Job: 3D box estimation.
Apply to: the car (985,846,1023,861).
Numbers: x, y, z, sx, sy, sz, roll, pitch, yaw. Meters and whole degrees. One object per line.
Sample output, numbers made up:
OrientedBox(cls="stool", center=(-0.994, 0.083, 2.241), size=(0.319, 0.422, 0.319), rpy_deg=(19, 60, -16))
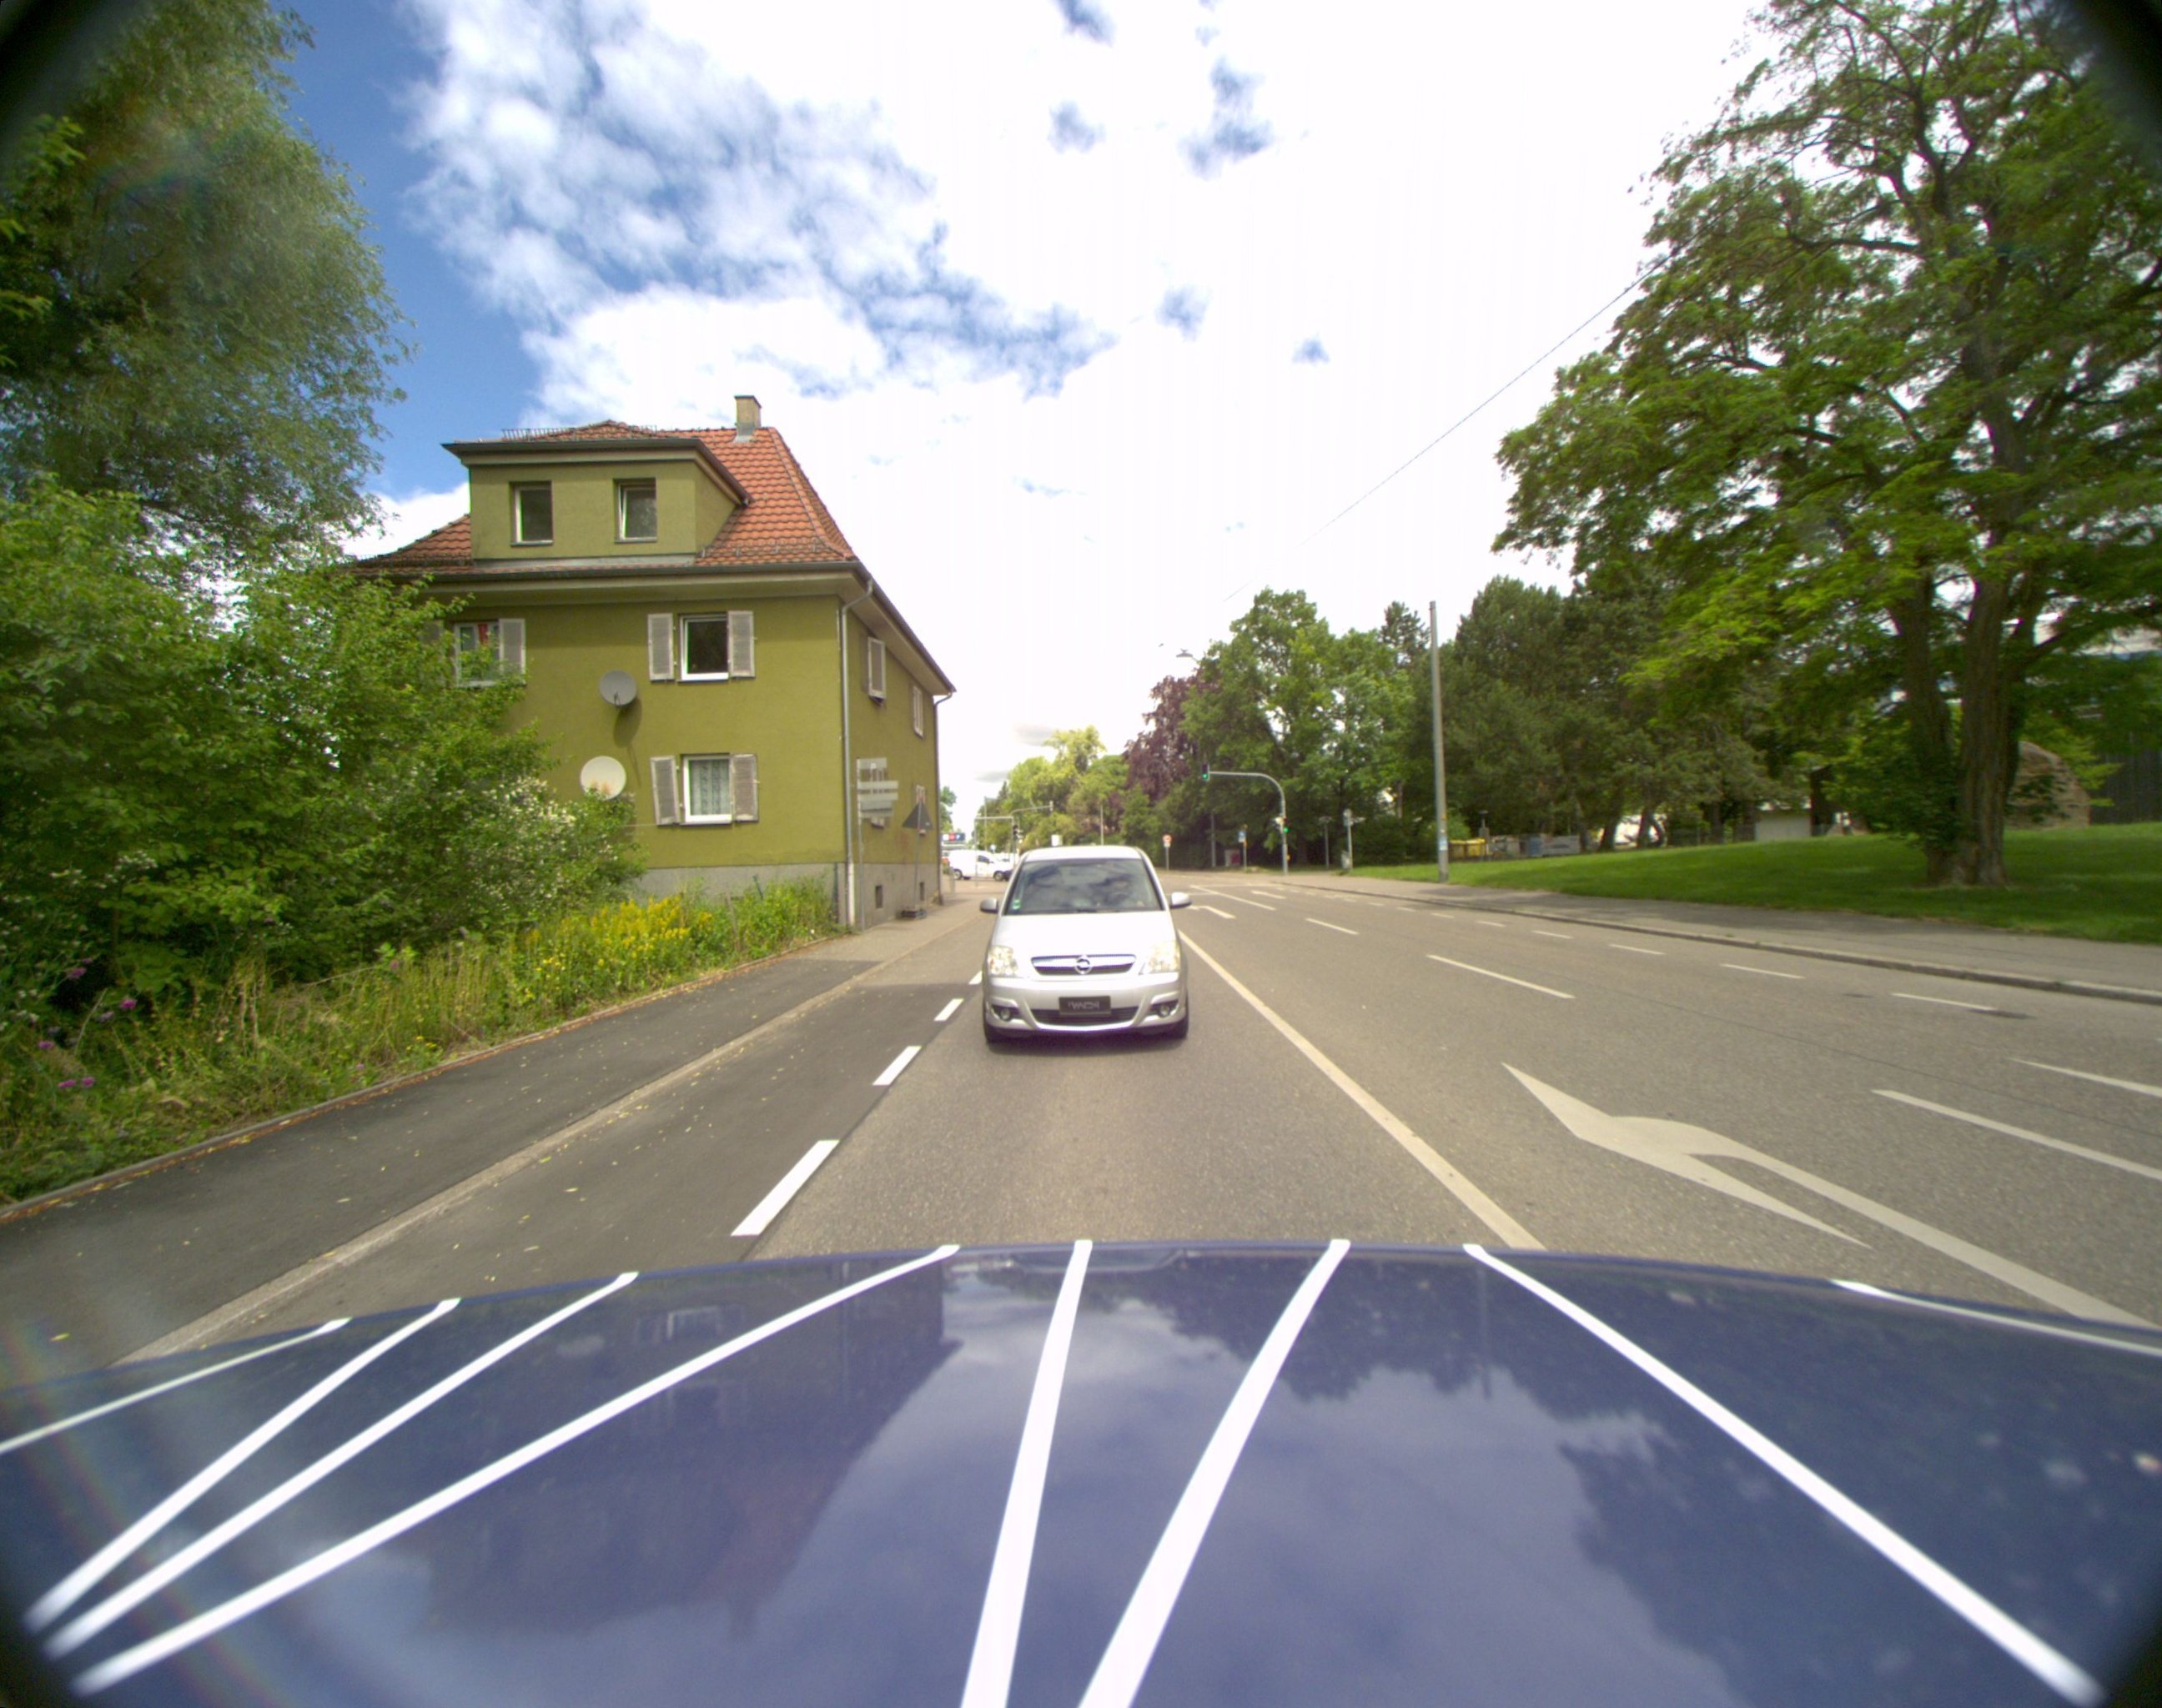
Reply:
OrientedBox(cls="car", center=(-9.441, -0.044, 93.329), size=(4.490, 1.787, 1.803), rpy_deg=(0, 1, 31))

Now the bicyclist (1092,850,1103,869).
OrientedBox(cls="bicyclist", center=(1.426, 0.466, 66.231), size=(0.807, 1.599, 0.771), rpy_deg=(-4, 1, -6))

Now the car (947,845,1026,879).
OrientedBox(cls="car", center=(-5.802, 0.457, 46.791), size=(4.363, 1.983, 2.002), rpy_deg=(-1, 1, 12))

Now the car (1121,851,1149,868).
OrientedBox(cls="car", center=(4.953, 0.487, 70.365), size=(1.900, 1.501, 3.997), rpy_deg=(-1, 0, -7))

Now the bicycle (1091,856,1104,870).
OrientedBox(cls="bicycle", center=(1.448, 0.778, 66.296), size=(0.814, 1.101, 1.799), rpy_deg=(-4, 1, -6))

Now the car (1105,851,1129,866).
OrientedBox(cls="car", center=(3.739, 0.455, 79.689), size=(1.900, 1.501, 3.997), rpy_deg=(-1, 0, -7))

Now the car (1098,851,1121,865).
OrientedBox(cls="car", center=(3.131, 0.390, 84.647), size=(1.900, 1.501, 3.997), rpy_deg=(-1, 0, -7))

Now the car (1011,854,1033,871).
OrientedBox(cls="car", center=(-5.536, 0.767, 72.035), size=(1.799, 1.502, 3.998), rpy_deg=(1, 2, 0))

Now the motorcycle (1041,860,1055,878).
OrientedBox(cls="motorcycle", center=(-2.141, 0.949, 49.360), size=(0.837, 1.101, 1.800), rpy_deg=(0, 1, 0))

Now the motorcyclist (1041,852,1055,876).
OrientedBox(cls="motorcyclist", center=(-2.153, 0.651, 49.346), size=(0.837, 1.547, 0.650), rpy_deg=(0, 1, 0))

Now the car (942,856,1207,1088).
OrientedBox(cls="car", center=(0.006, 0.837, 7.312), size=(1.780, 1.519, 4.000), rpy_deg=(-3, 0, 1))
